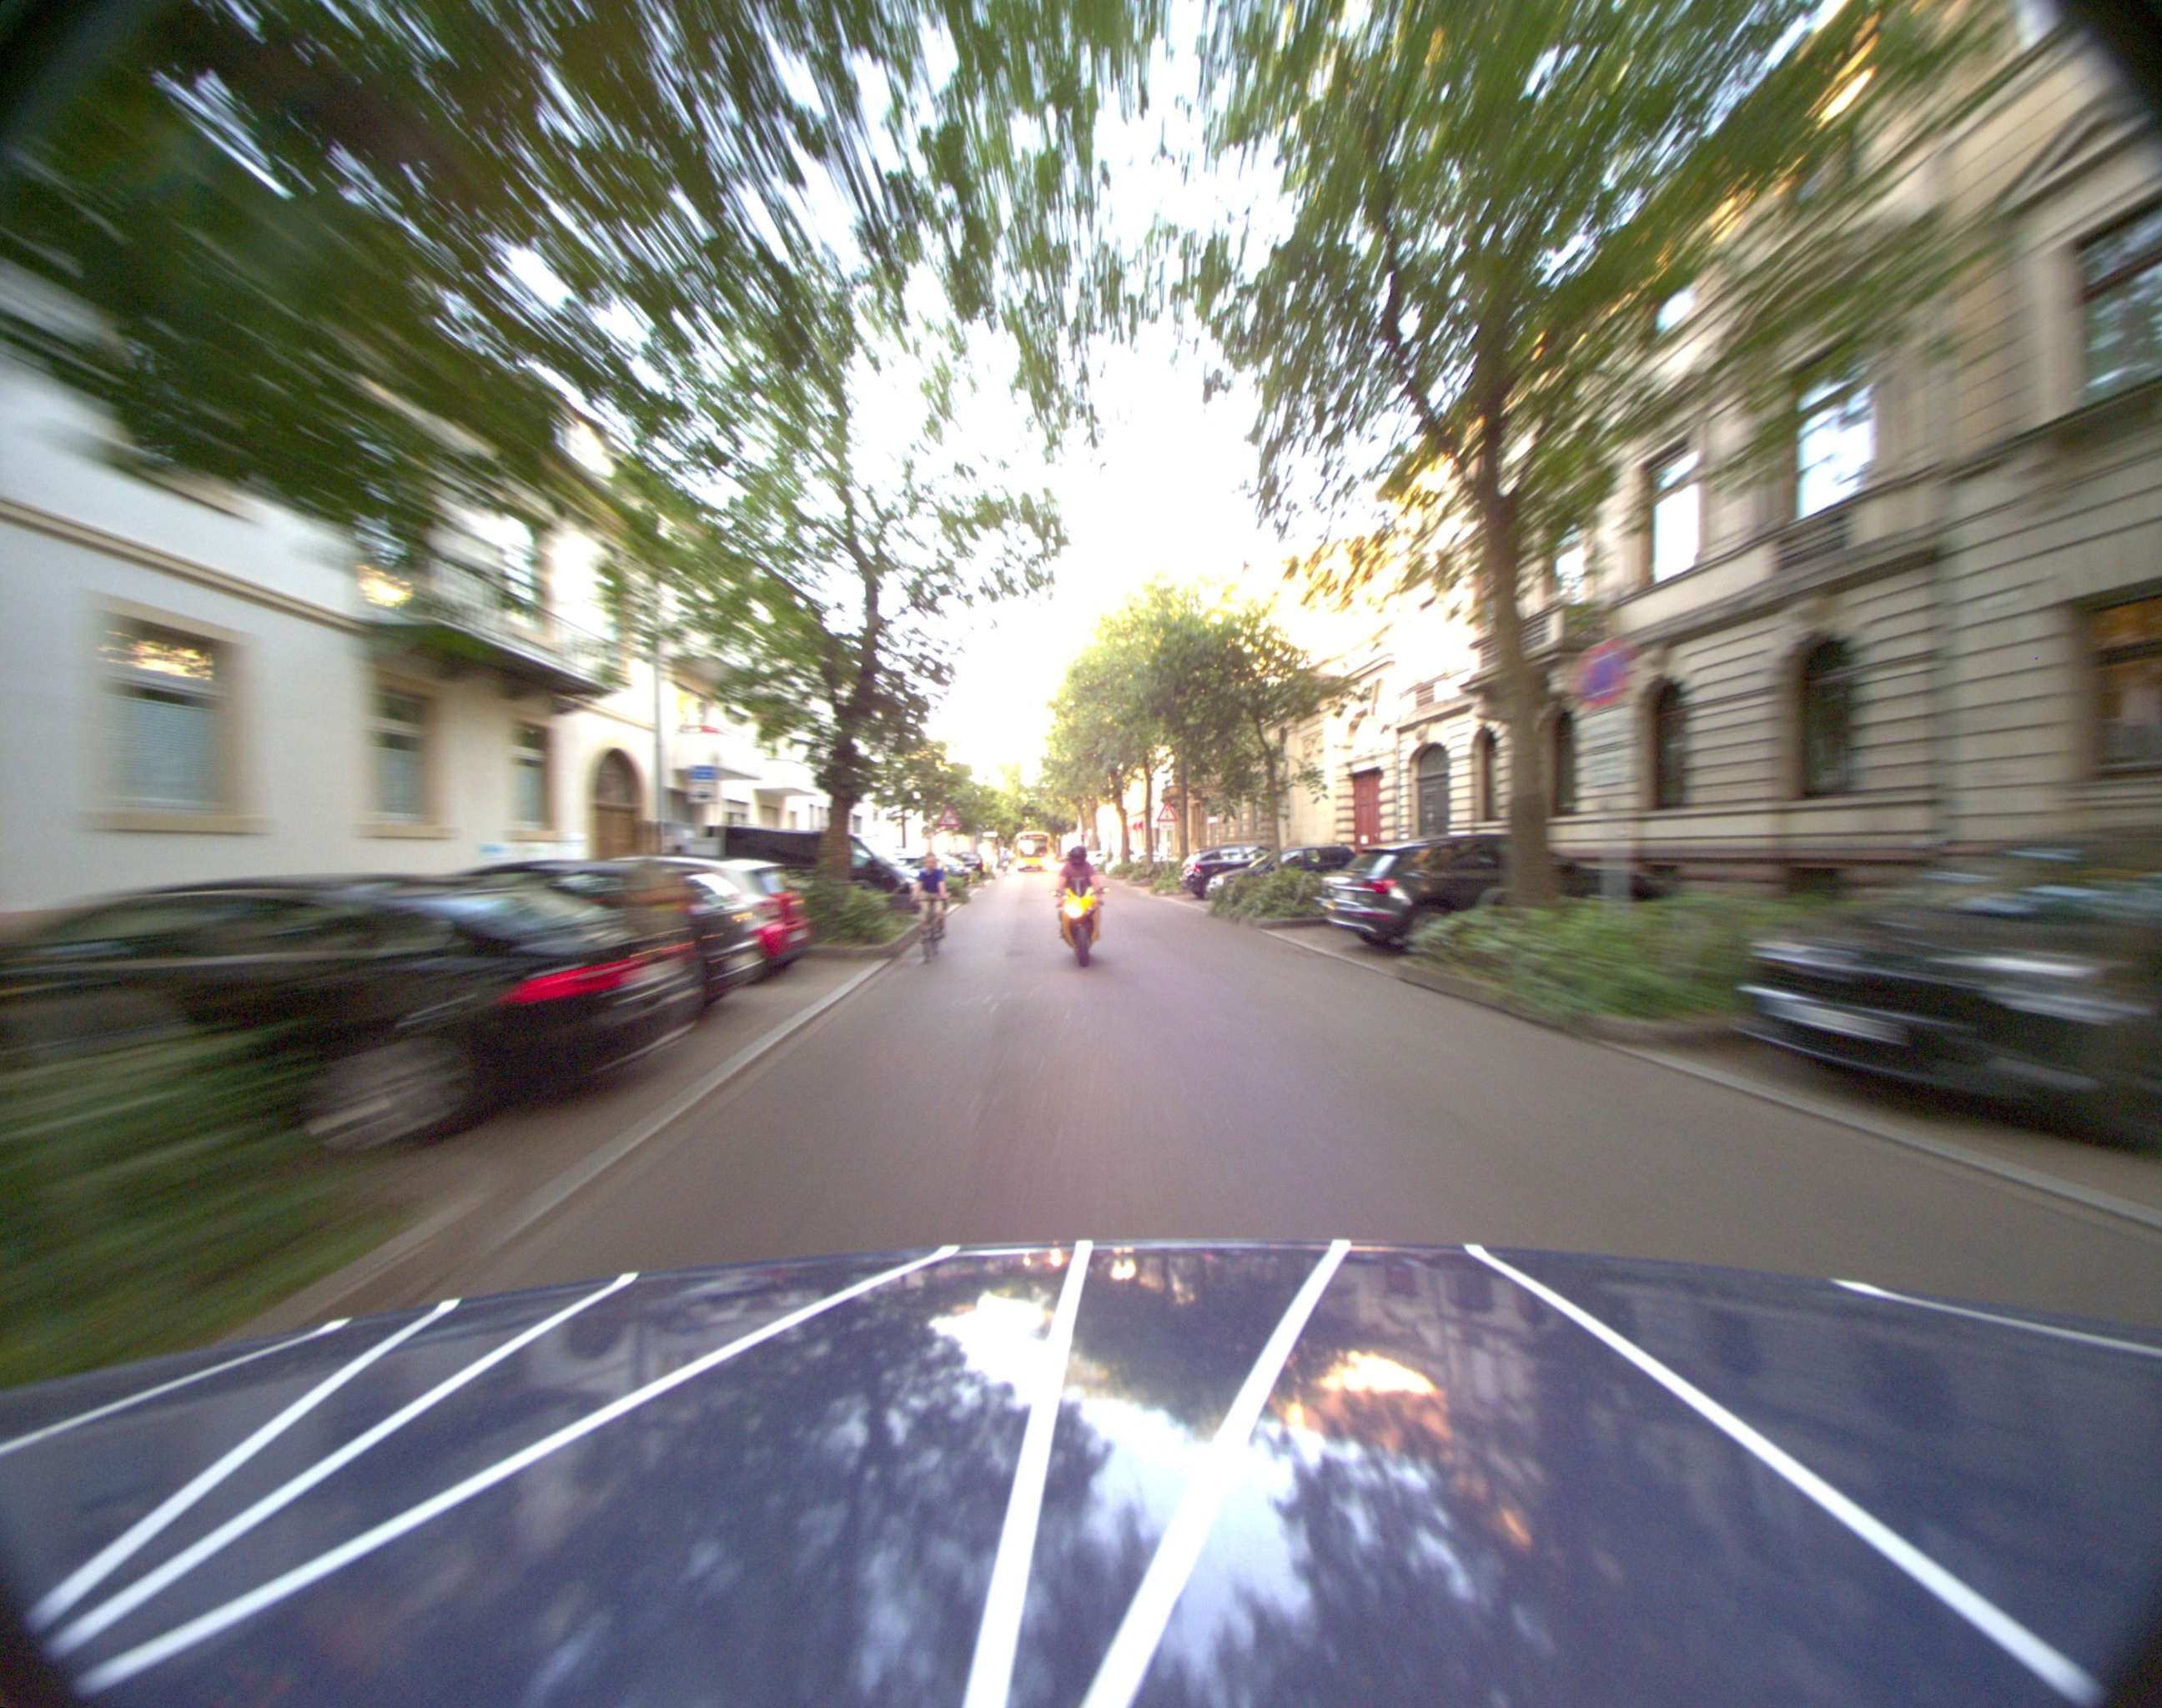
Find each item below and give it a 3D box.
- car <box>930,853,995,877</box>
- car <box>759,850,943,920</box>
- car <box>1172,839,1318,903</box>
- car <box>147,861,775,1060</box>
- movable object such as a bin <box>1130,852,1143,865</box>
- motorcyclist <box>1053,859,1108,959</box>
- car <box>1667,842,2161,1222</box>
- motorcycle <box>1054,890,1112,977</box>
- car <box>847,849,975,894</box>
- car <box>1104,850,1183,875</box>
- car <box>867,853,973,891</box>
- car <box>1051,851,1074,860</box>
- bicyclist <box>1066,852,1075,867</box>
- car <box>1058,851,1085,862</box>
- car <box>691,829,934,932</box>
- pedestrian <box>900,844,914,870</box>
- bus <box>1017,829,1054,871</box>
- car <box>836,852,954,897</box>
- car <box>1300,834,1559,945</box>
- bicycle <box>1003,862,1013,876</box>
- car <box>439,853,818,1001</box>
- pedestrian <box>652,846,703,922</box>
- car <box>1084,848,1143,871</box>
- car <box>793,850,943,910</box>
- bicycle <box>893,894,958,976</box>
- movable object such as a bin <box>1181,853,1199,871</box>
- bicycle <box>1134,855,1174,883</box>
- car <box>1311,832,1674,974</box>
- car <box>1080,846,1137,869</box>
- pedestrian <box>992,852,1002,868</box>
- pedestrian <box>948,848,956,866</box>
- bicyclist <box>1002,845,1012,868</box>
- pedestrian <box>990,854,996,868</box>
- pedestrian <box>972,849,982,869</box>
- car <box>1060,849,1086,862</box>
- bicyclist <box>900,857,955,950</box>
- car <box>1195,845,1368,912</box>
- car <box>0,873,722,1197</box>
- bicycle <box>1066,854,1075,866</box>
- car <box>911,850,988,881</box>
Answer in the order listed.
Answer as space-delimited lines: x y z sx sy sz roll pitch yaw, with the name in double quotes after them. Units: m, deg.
-7.748 0.715 49.960 3.998 1.429 1.793 -1 0 -3 "car"
-5.760 0.756 19.499 4.168 1.569 1.968 2 0 -5 "car"
5.019 0.495 23.597 3.976 1.587 1.780 -5 1 -4 "car"
-5.177 0.871 6.922 3.999 1.429 1.925 2 0 -5 "car"
4.423 0.341 60.443 0.777 1.055 1.316 -1 0 -5 "movable object such as a bin"
-0.018 0.790 11.197 0.737 1.404 0.726 -2 1 -3 "motorcyclist"
6.006 0.748 4.302 3.956 1.523 1.907 -2 1 -3 "car"
-0.011 1.112 11.138 0.737 1.053 1.964 -2 0 -3 "motorcycle"
-6.584 0.663 29.873 4.604 1.569 1.943 2 0 -5 "car"
3.727 0.484 46.088 4.526 1.382 1.915 -2 1 -3 "car"
-6.776 0.731 32.259 4.085 1.421 1.817 2 0 -2 "car"
-3.441 0.325 143.602 4.001 1.699 1.843 -1 0 -12 "car"
-0.917 0.469 66.636 0.674 1.256 0.647 -1 1 -5 "bicyclist"
-1.533 0.388 120.001 4.001 1.801 1.798 -1 0 -12 "car"
-5.820 0.564 17.001 4.703 1.999 2.036 2 1 -5 "car"
-11.721 0.198 51.148 0.699 1.785 1.065 -1 1 -3 "pedestrian"
-3.977 -0.338 64.928 2.669 3.176 11.893 -3 0 -4 "bus"
-6.552 0.721 27.091 3.804 1.415 1.696 2 0 -5 "car"
6.133 0.587 13.614 3.812 1.662 1.713 -3 0 -5 "car"
-5.226 1.063 54.332 0.637 0.977 1.980 -3 0 -5 "bicycle"
-5.468 0.851 9.589 3.690 1.569 1.713 2 0 -3 "car"
-8.710 0.634 16.438 0.671 1.589 0.736 -2 1 -4 "pedestrian"
2.379 0.385 56.319 4.181 1.548 1.826 -2 1 -1 "car"
-6.245 0.743 22.644 3.977 1.569 1.850 2 0 -5 "car"
-2.354 1.200 11.711 0.674 1.024 1.976 -3 0 -4 "bicycle"
6.953 0.491 48.590 0.803 1.055 1.316 -3 1 -4 "movable object such as a bin"
3.358 0.668 34.910 1.775 1.225 0.500 -2 2 1 "bicycle"
5.783 0.640 11.028 4.213 1.662 1.907 -3 0 -4 "car"
2.295 0.275 63.843 4.438 1.712 1.889 -3 1 -6 "car"
-7.534 0.537 68.182 0.600 1.502 0.719 1 1 -33 "pedestrian"
-12.796 0.287 75.385 0.699 1.844 1.049 0 0 -6 "pedestrian"
-5.275 0.173 54.320 0.637 1.552 0.818 -3 0 -6 "bicyclist"
-7.976 0.642 68.961 0.451 1.254 0.489 1 1 -10 "pedestrian"
-9.374 0.456 68.481 0.574 1.764 0.546 1 1 41 "pedestrian"
-1.295 0.269 122.500 4.001 1.940 1.998 -1 0 -12 "car"
-2.378 0.748 11.830 0.674 1.355 0.776 -3 1 -4 "bicyclist"
5.212 0.622 20.063 3.976 1.379 1.764 -4 0 -3 "car"
-4.807 0.915 4.514 4.414 1.386 1.884 2 0 -6 "car"
-0.917 0.527 66.694 0.674 0.988 1.757 -1 0 -5 "bicycle"
-7.472 0.640 43.530 4.121 1.608 1.960 -1 0 -3 "car"
